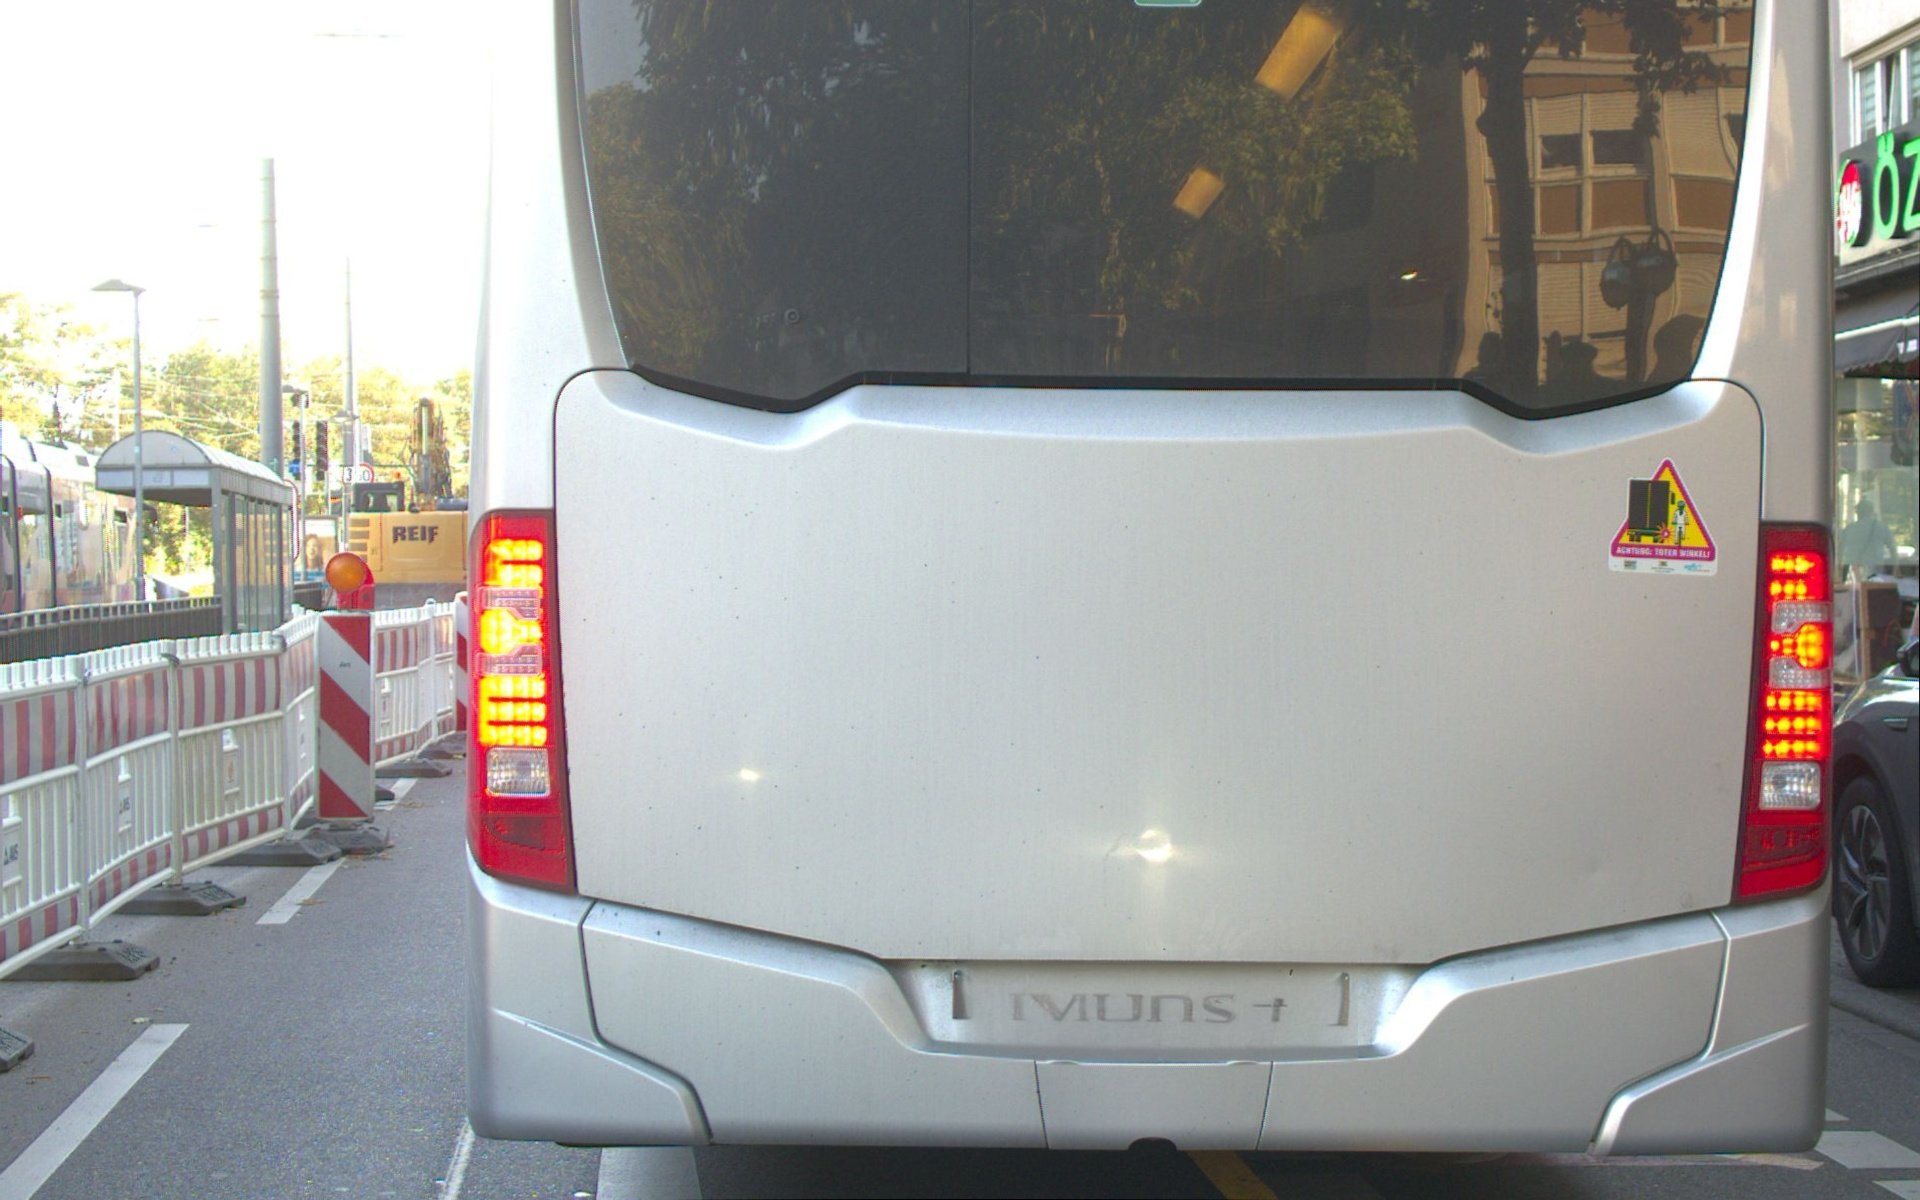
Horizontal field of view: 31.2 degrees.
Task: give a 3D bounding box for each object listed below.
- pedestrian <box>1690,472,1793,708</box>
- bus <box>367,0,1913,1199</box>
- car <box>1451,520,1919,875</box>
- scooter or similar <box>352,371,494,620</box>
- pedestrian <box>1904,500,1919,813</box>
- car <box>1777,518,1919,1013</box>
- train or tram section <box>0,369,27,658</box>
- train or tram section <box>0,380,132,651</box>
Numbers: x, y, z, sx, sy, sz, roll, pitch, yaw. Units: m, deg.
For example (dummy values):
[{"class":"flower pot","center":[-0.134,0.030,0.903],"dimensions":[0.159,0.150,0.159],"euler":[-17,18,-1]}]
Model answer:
[{"class":"pedestrian","center":[6.741,-0.092,29.689],"dimensions":[0.685,2.007,0.786],"euler":[-1,1,-1]},{"class":"bus","center":[0.267,-0.205,9.888],"dimensions":[2.611,3.115,7.993],"euler":[1,1,-1]},{"class":"car","center":[4.137,0.407,18.316],"dimensions":[1.993,1.576,4.369],"euler":[-3,1,-5]},{"class":"scooter or similar","center":[-10.065,-1.924,64.777],"dimensions":[2.468,4.455,5.974],"euler":[-1,1,-8]},{"class":"pedestrian","center":[5.456,0.285,18.488],"dimensions":[0.664,1.661,0.600],"euler":[-2,0,16]},{"class":"car","center":[4.135,0.515,10.167],"dimensions":[1.993,1.576,4.369],"euler":[-3,1,-5]},{"class":"train or tram section","center":[-12.668,-1.034,38.708],"dimensions":[2.686,3.546,11.585],"euler":[1,1,-8]},{"class":"train or tram section","center":[-14.064,-1.180,50.268],"dimensions":[2.686,3.521,11.585],"euler":[1,1,-8]}]
